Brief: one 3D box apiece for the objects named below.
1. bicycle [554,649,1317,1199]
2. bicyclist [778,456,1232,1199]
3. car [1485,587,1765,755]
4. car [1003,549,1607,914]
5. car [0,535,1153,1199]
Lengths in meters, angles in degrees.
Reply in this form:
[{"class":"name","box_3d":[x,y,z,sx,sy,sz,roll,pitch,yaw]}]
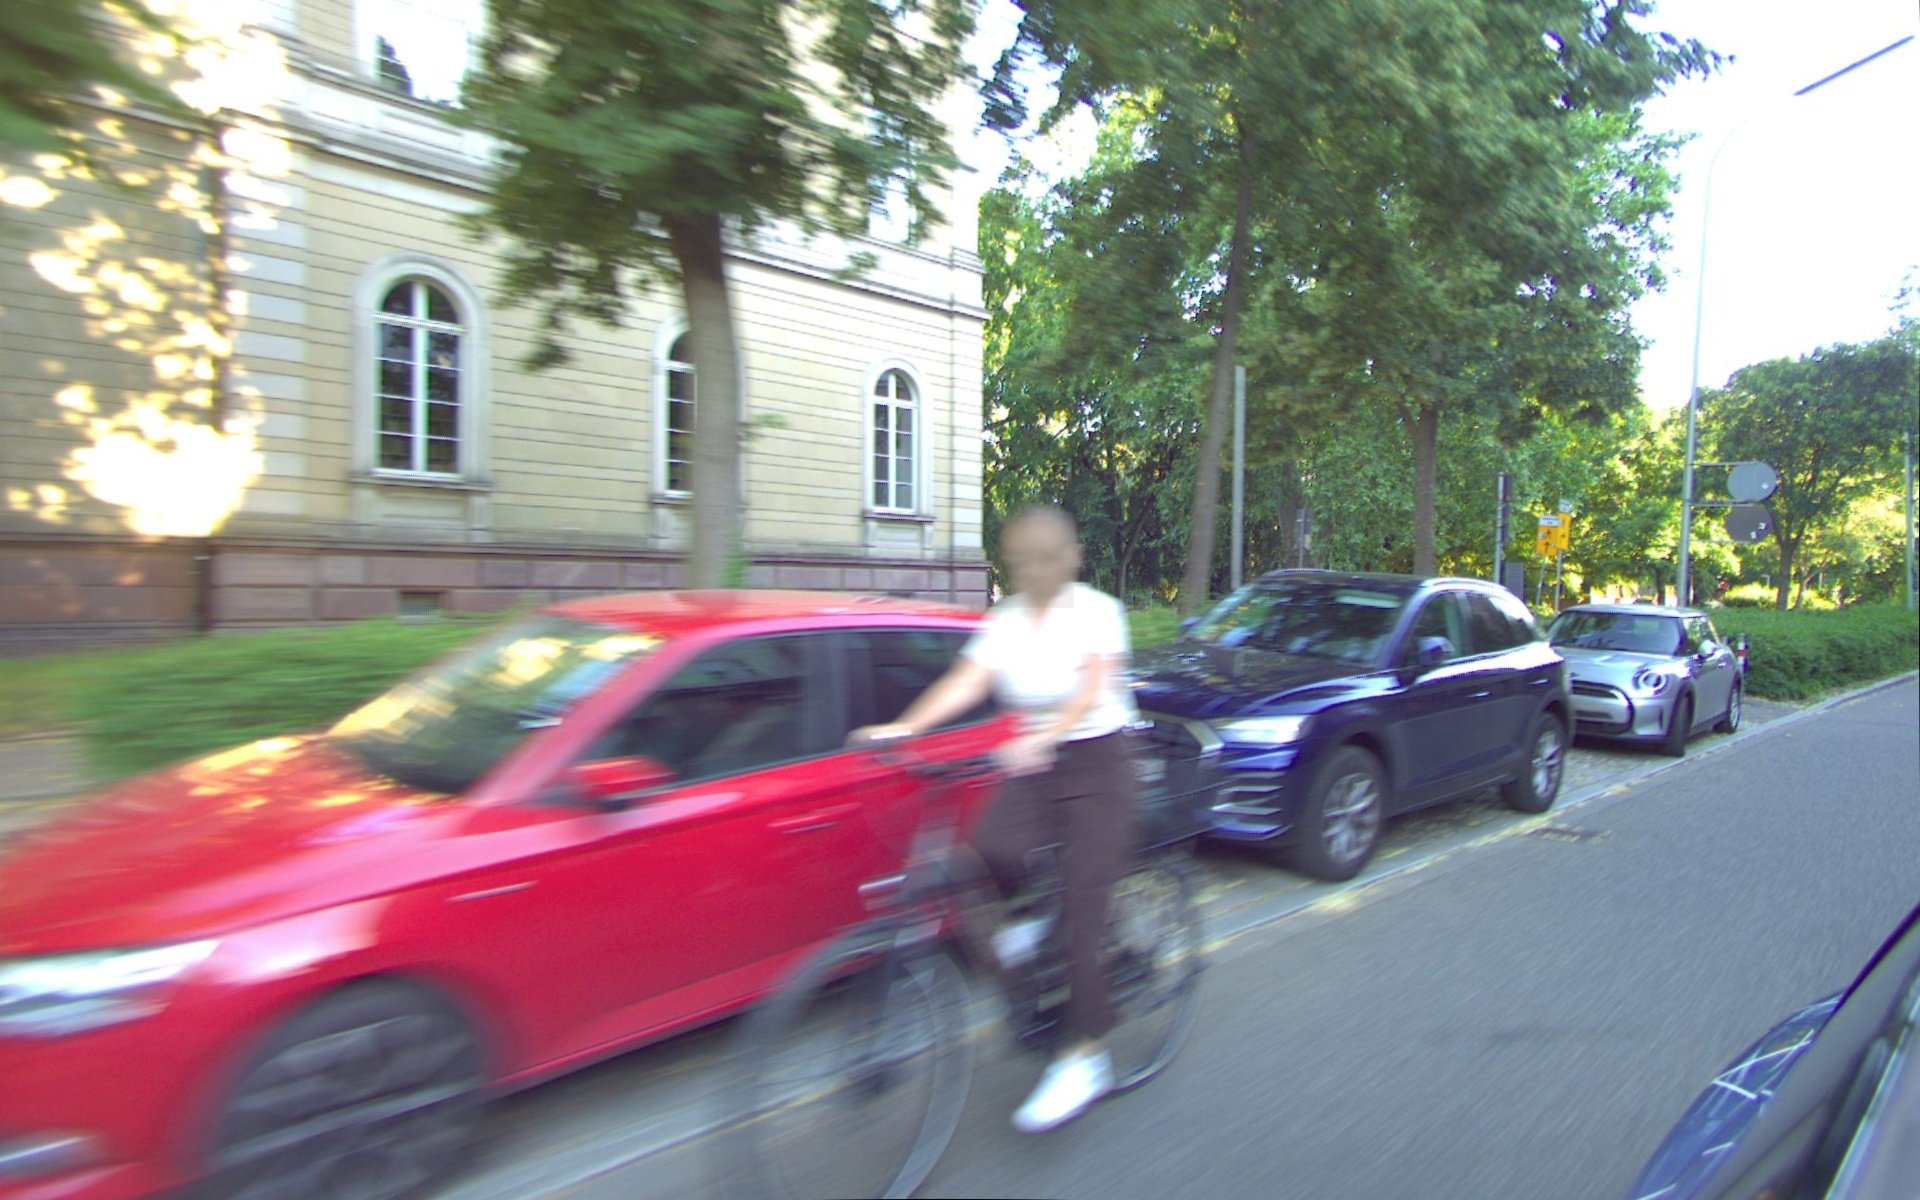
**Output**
[{"class":"bicycle","box_3d":[0.110,0.827,2.806,2.173,1.268,0.752,0,0,-43]},{"class":"bicyclist","box_3d":[0.142,0.501,2.801,1.021,1.633,0.752,0,0,-43]},{"class":"car","box_3d":[7.421,0.622,11.147,3.934,1.456,1.726,-2,2,-43]},{"class":"car","box_3d":[2.610,0.553,6.961,4.613,1.708,1.885,-2,2,-41]},{"class":"car","box_3d":[-1.160,0.632,3.698,3.903,1.608,1.726,-2,2,-43]}]
